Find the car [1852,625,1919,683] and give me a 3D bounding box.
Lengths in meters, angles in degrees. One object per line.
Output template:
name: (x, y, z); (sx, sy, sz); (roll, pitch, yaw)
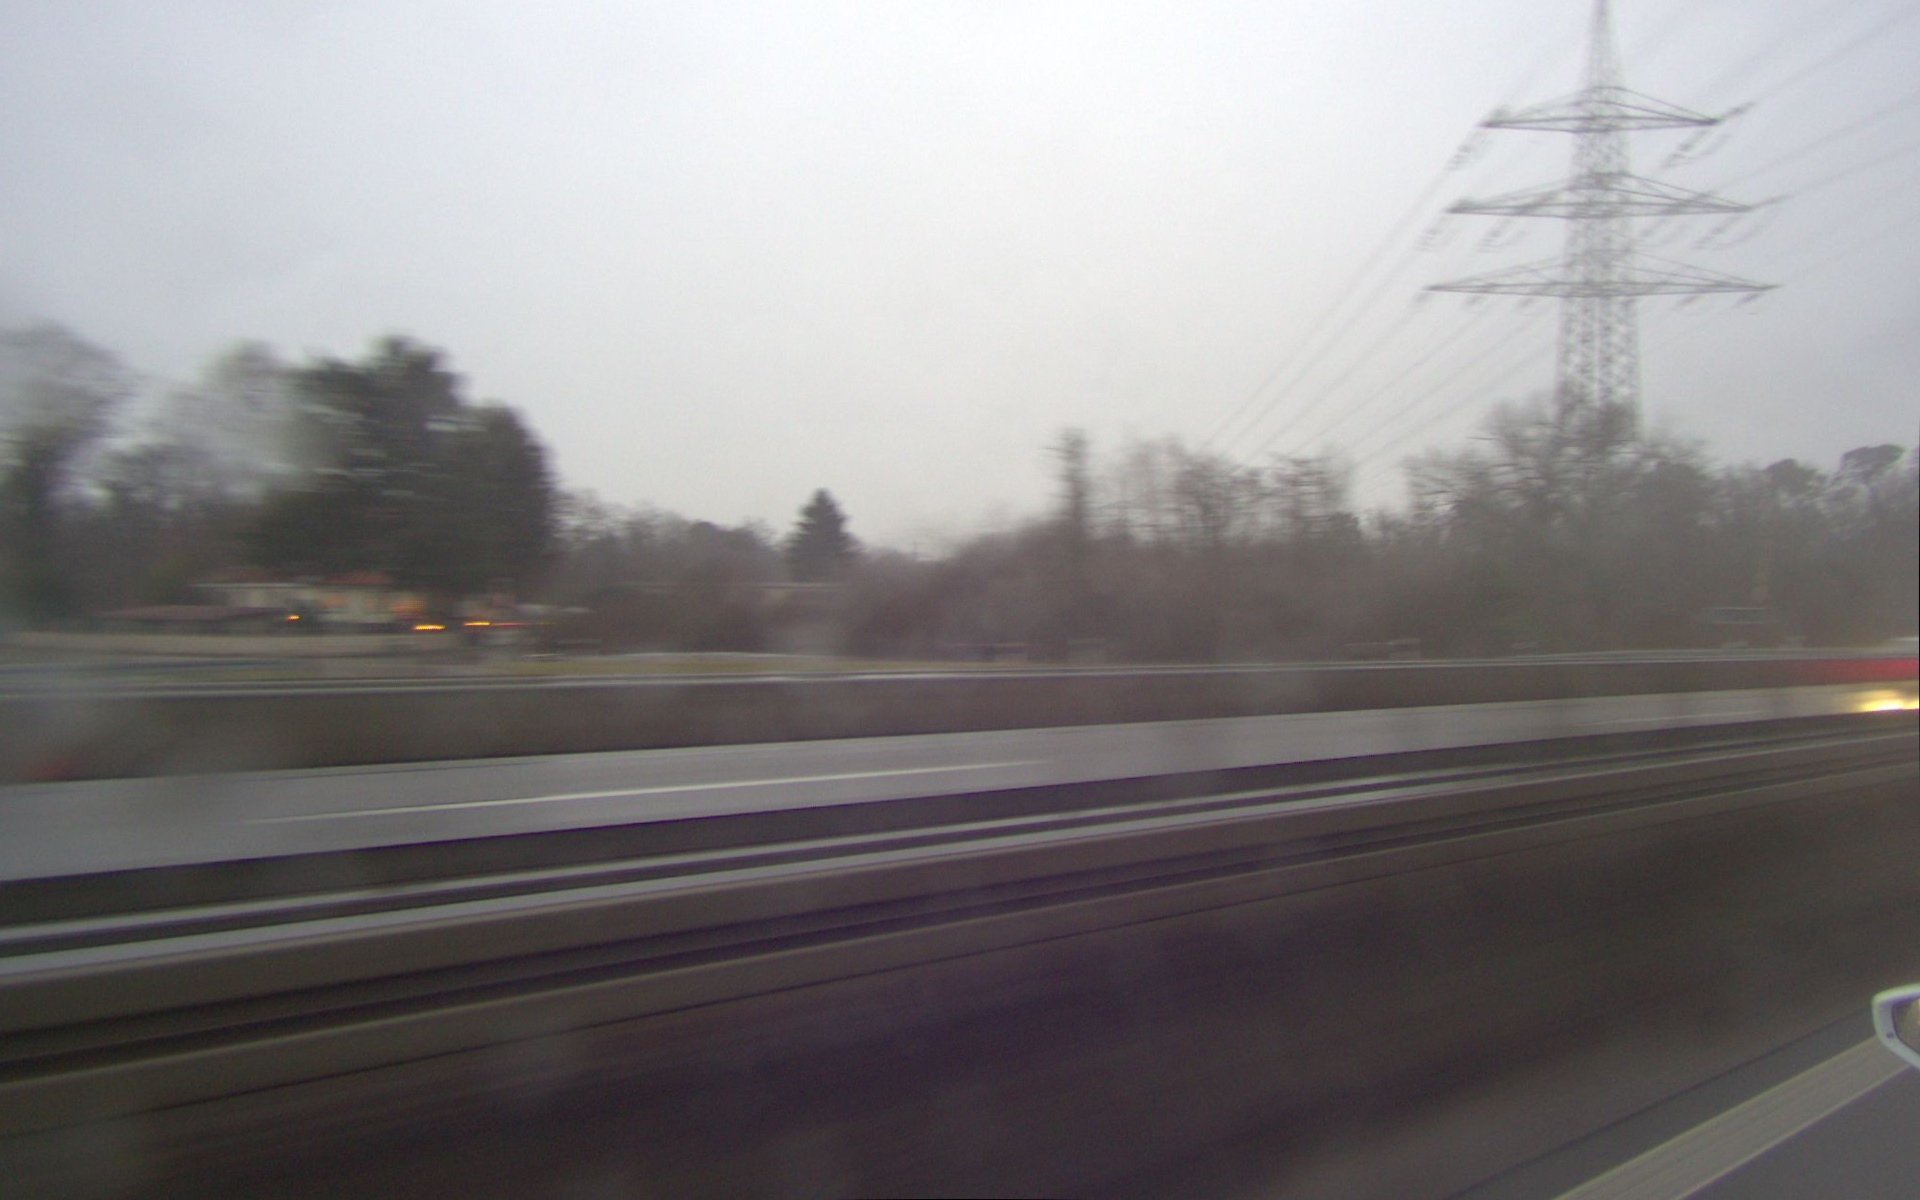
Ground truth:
car: (26.489, 1.424, 27.356); (4.495, 1.458, 1.917); (1, 0, -29)
